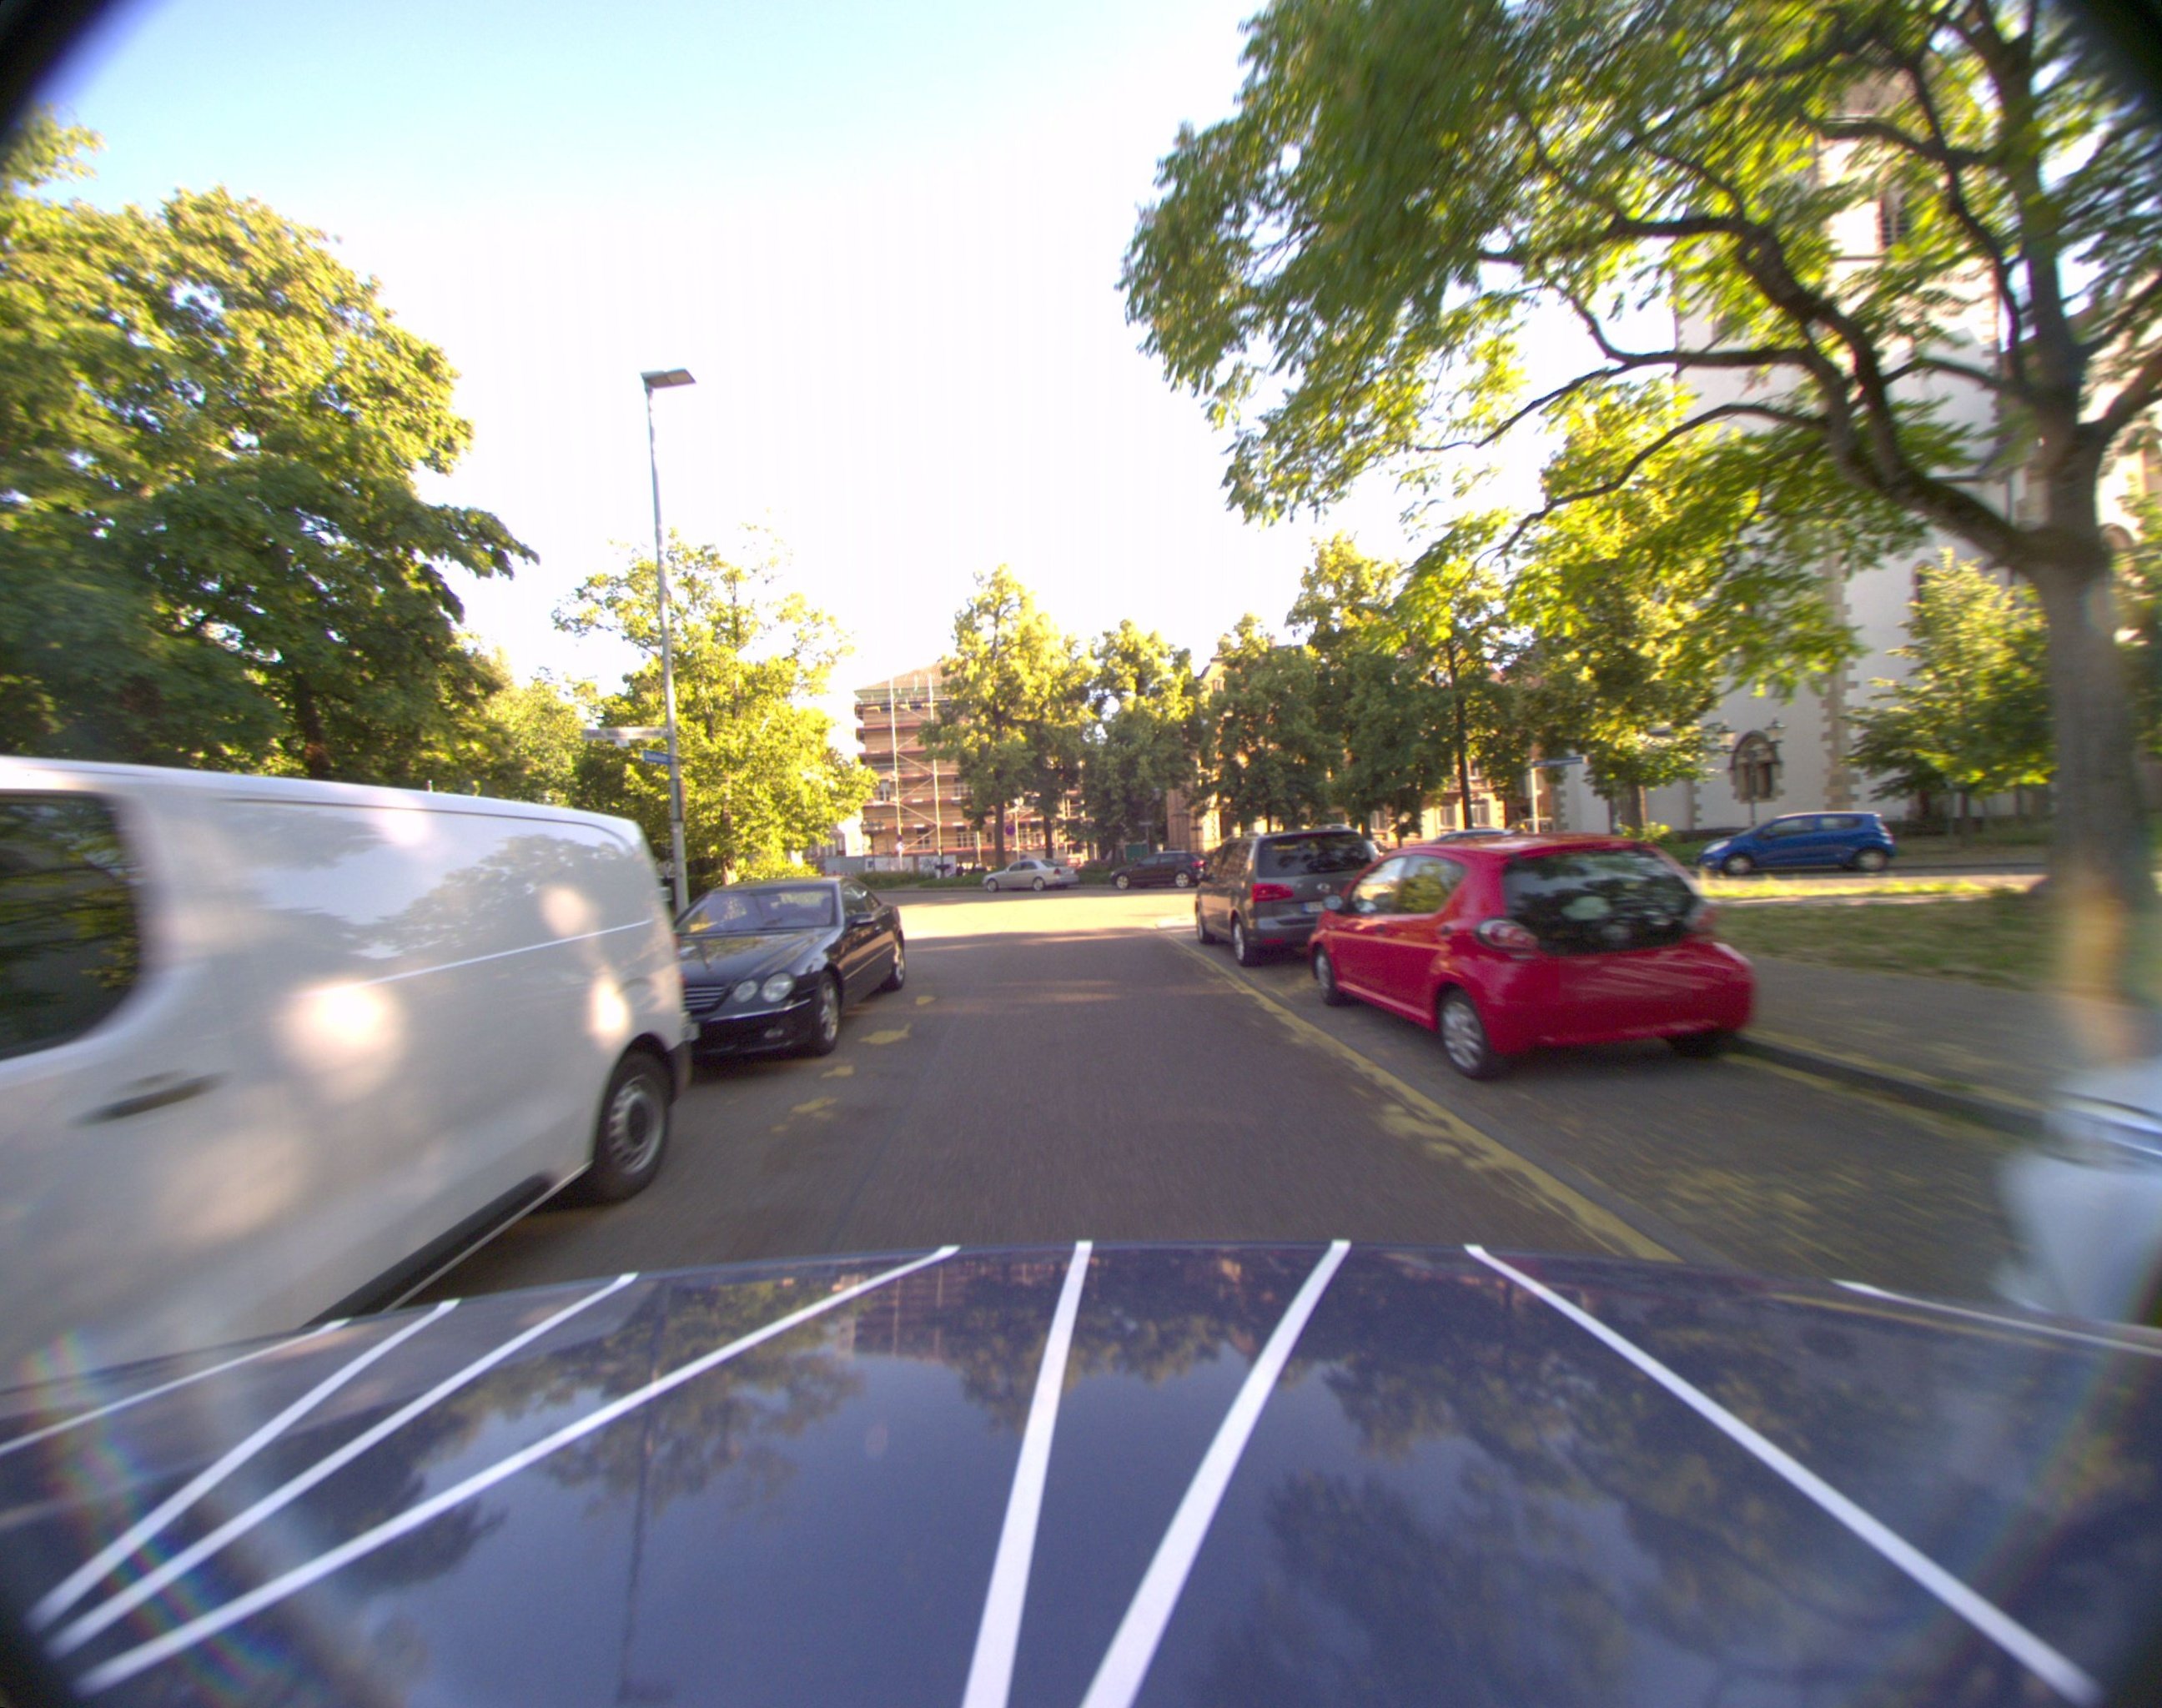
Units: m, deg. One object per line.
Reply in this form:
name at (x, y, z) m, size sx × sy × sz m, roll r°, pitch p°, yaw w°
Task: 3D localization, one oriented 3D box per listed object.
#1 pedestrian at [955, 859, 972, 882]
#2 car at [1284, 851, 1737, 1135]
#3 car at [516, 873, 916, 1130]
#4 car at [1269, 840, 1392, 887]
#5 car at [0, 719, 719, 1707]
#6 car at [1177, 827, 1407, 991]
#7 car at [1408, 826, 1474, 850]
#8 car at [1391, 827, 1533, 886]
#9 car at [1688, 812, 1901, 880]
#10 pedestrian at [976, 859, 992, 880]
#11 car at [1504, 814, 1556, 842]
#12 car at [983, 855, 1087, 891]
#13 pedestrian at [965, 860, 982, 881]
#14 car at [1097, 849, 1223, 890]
pedestrian at (-6.753, 0.968, 43.574) m, size 0.554 × 1.290 × 0.764 m, roll -4°, pitch 1°, yaw -39°
car at (2.797, 0.746, 5.838) m, size 1.391 × 1.415 × 3.426 m, roll -5°, pitch 1°, yaw -1°
car at (-2.959, 1.044, 7.523) m, size 1.770 × 1.459 × 4.863 m, roll -3°, pitch 0°, yaw -3°
car at (8.467, 0.335, 25.872) m, size 3.596 × 1.431 × 1.621 m, roll -3°, pitch -1°, yaw 35°
car at (-3.029, 0.793, 1.782) m, size 1.958 × 2.002 × 5.151 m, roll -3°, pitch 0°, yaw -2°
car at (2.627, 0.600, 10.607) m, size 1.806 × 1.666 × 4.319 m, roll -5°, pitch 1°, yaw -1°
car at (28.691, -1.256, 60.638) m, size 4.218 × 1.646 × 1.999 m, roll -3°, pitch 1°, yaw -2°
car at (11.704, 0.095, 23.407) m, size 3.687 × 1.570 × 1.713 m, roll -3°, pitch 1°, yaw 33°
car at (18.000, -0.182, 19.410) m, size 3.687 × 1.493 × 1.624 m, roll -3°, pitch 1°, yaw 33°
pedestrian at (-5.683, 0.908, 44.351) m, size 0.554 × 1.226 × 0.723 m, roll -4°, pitch 1°, yaw -39°
car at (39.540, -2.224, 67.051) m, size 1.891 × 2.248 × 4.219 m, roll -3°, pitch 0°, yaw -3°
car at (-2.081, 0.843, 33.594) m, size 4.486 × 1.407 × 1.789 m, roll -3°, pitch -2°, yaw 38°
pedestrian at (-6.226, 0.969, 44.095) m, size 0.554 × 1.188 × 0.882 m, roll -4°, pitch 1°, yaw -39°
car at (3.042, 0.634, 29.691) m, size 4.483 × 1.407 × 1.834 m, roll -3°, pitch -2°, yaw 35°
